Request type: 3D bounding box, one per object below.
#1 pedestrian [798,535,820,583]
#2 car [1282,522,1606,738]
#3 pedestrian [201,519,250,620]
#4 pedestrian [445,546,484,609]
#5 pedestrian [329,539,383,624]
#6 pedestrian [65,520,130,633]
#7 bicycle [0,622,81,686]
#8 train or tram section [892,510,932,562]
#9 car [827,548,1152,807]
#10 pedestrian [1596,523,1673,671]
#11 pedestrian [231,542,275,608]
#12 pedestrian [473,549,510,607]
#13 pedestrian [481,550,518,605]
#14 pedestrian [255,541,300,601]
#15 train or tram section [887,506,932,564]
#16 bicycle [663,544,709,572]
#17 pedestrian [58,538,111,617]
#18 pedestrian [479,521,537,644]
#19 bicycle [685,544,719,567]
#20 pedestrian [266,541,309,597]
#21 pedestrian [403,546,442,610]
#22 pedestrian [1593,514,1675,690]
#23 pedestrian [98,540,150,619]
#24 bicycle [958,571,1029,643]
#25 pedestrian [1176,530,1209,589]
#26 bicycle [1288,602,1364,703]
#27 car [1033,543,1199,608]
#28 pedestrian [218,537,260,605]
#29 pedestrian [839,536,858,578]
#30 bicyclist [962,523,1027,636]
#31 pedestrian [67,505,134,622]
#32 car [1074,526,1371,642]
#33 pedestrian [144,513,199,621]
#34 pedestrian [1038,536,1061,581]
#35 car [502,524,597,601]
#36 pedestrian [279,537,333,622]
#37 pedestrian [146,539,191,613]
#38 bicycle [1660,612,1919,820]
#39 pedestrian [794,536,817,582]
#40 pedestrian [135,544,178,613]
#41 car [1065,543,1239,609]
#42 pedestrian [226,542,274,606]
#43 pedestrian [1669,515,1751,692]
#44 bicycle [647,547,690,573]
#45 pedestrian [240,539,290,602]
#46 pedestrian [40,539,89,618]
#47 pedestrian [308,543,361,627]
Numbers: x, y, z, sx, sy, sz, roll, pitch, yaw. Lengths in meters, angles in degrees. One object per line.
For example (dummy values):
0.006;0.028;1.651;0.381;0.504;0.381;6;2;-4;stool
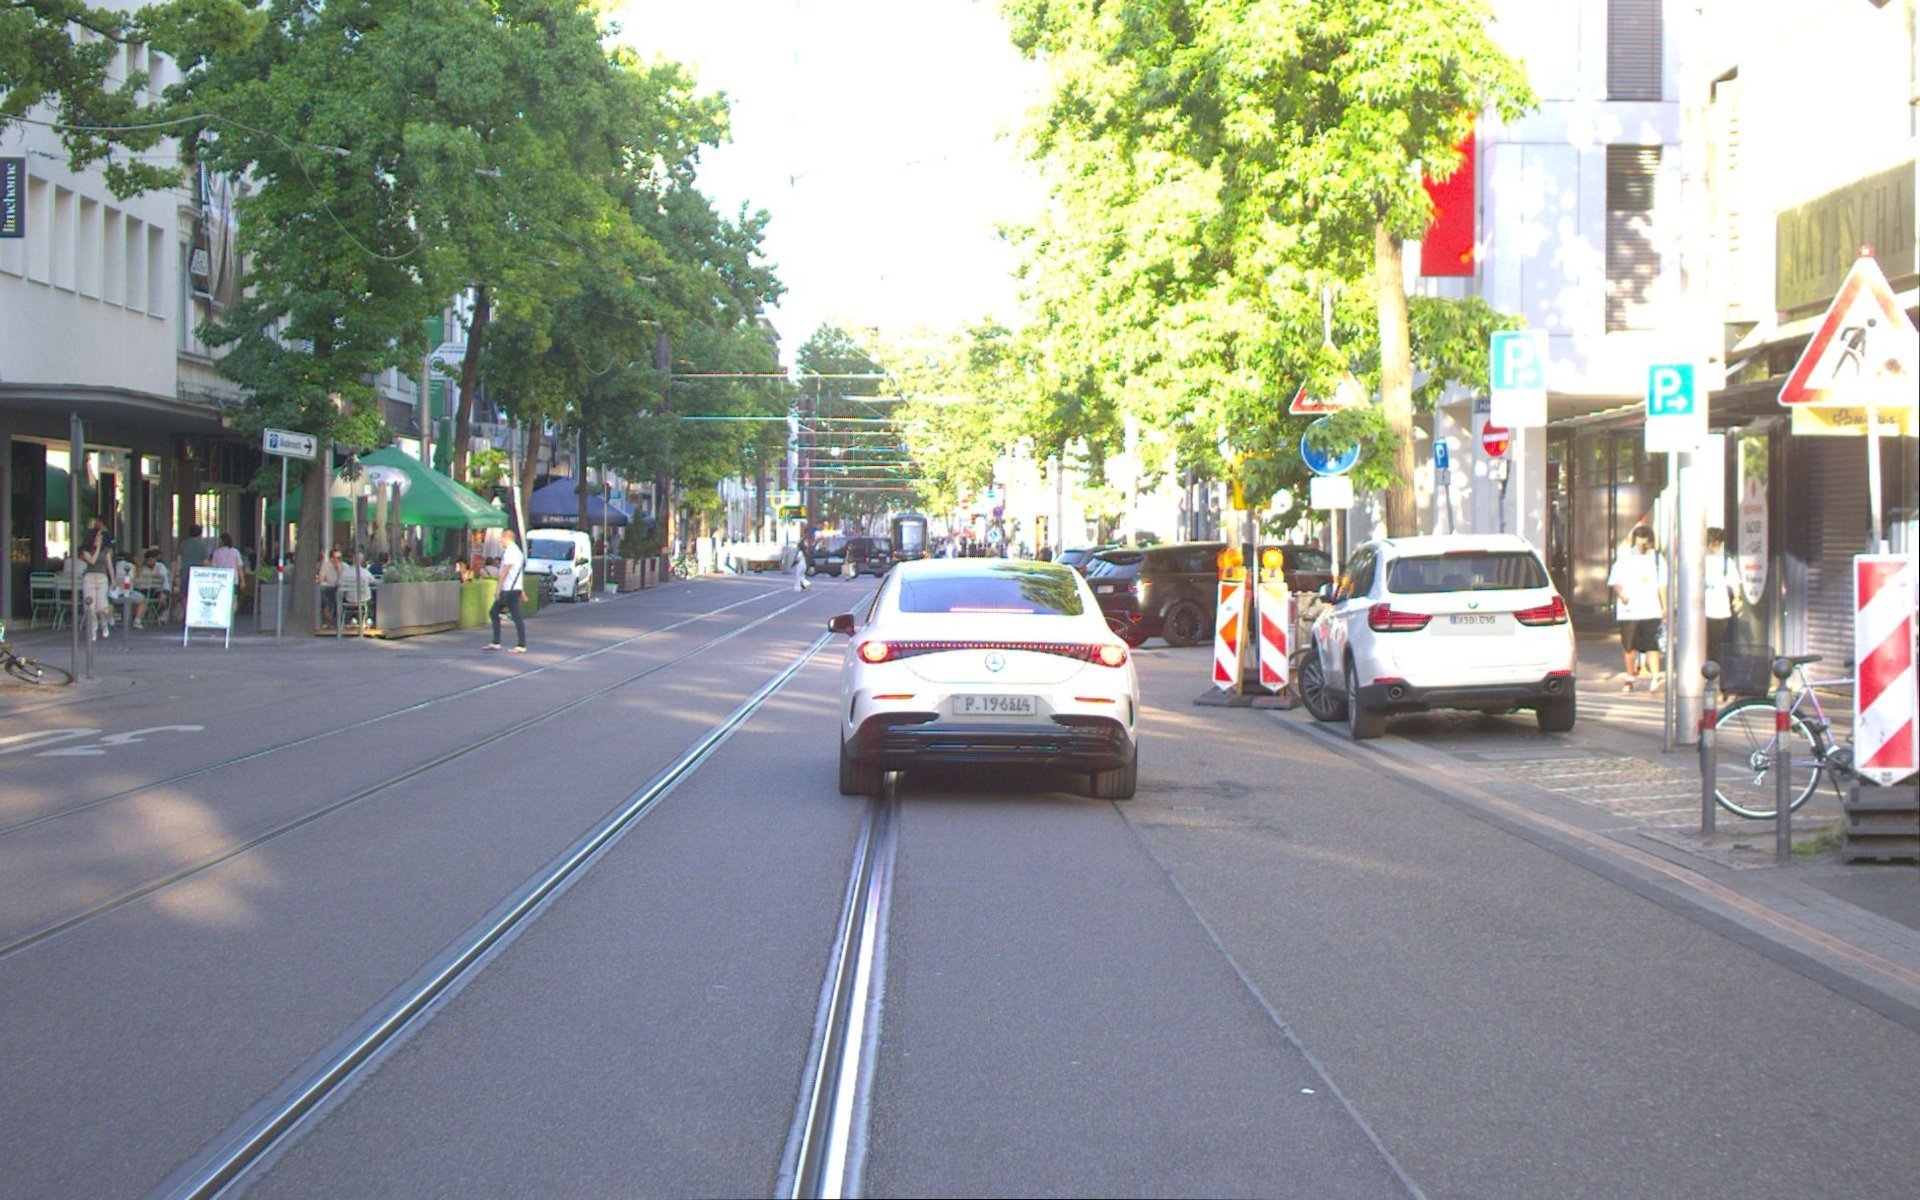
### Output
-4.991;-1.361;113.962;0.622;1.545;0.852;3;1;0;pedestrian
4.275;0.209;31.146;2.023;1.731;4.907;-2;1;-2;car
-12.259;-0.514;57.408;0.619;1.665;0.697;2;1;-1;pedestrian
-9.988;-0.457;69.275;0.619;1.240;0.697;4;1;-1;pedestrian
-10.002;-0.308;56.946;0.689;1.382;0.807;2;1;0;pedestrian
-12.863;-0.357;51.294;0.707;1.650;0.967;0;2;1;pedestrian
-10.343;0.549;36.185;1.795;0.607;1.282;2;1;3;bicycle
-3.322;-4.459;238.910;2.694;3.504;11.144;0;1;0;train or tram section
0.146;0.421;22.101;1.857;1.450;4.175;1;1;-1;car
8.710;-0.046;44.428;0.834;1.891;0.918;-1;1;2;pedestrian
-13.689;-0.490;66.565;0.669;1.238;0.799;2;1;-1;pedestrian
-10.318;-0.491;75.737;0.657;1.240;0.873;4;1;-1;pedestrian
-10.265;-0.505;76.595;0.657;1.189;0.798;4;1;-1;pedestrian
-14.382;-0.614;72.469;0.736;1.209;0.788;4;1;-1;pedestrian
-3.132;-4.022;214.518;2.694;3.504;12.546;0;1;0;train or tram section
-10.857;-1.671;136.351;1.788;1.073;0.377;2;1;-4;bicycle
-14.392;-0.367;56.545;0.644;1.265;0.738;2;1;0;pedestrian
-6.496;-0.251;49.399;0.795;1.734;0.866;0;2;-8;pedestrian
-11.691;-2.010;155.667;1.492;1.025;0.345;2;1;-10;bicycle
-14.376;-0.664;73.496;0.700;1.164;0.788;4;1;-1;pedestrian
-10.823;-0.453;69.265;0.619;1.240;0.697;4;1;-1;pedestrian
7.030;0.016;35.889;0.705;1.824;0.635;0;1;-1;pedestrian
-13.731;-0.341;56.469;0.626;1.277;0.727;2;1;0;pedestrian
0.506;0.095;50.716;0.719;0.992;2.058;3;1;9;bicycle
6.962;-1.214;102.893;0.689;1.725;0.631;-1;1;42;pedestrian
3.776;0.532;35.547;0.493;0.978;1.930;0;1;-2;bicycle
4.331;-0.680;95.296;4.342;1.646;1.694;-2;1;-31;car
-14.242;-0.570;67.917;0.619;1.305;0.697;4;1;-1;pedestrian
-4.855;-1.879;150.108;0.788;1.795;0.844;1;1;1;pedestrian
0.513;-0.305;50.639;0.778;1.607;0.912;3;1;9;bicyclist
-13.571;-0.582;54.290;0.685;1.809;0.763;2;1;15;pedestrian
4.467;-0.277;58.312;4.651;1.757;1.995;-3;1;-29;car
-13.085;-0.547;57.081;0.678;1.751;0.697;2;1;1;pedestrian
3.623;-1.682;139.444;0.841;1.795;0.790;2;1;1;pedestrian
-10.656;-1.000;89.576;1.795;1.858;4.553;3;1;0;car
-10.831;-0.345;56.956;0.689;1.382;0.807;2;1;0;pedestrian
-14.170;-0.438;61.531;0.602;1.294;0.687;2;1;0;pedestrian
4.980;0.651;19.696;1.813;1.131;0.840;-1;0;7;bicycle
-5.073;-1.348;112.955;0.622;1.504;0.833;3;1;0;pedestrian
-13.860;-0.370;59.307;0.552;1.157;0.687;2;1;0;pedestrian
5.095;-0.649;91.137;4.235;1.582;1.884;-2;1;-31;car
-14.269;-0.528;69.104;0.736;1.227;0.788;4;1;-1;pedestrian
7.806;0.031;35.811;0.688;1.824;0.635;0;1;-1;pedestrian
-11.294;-1.549;133.117;1.596;0.927;0.377;2;1;6;bicycle
-14.178;-0.599;70.182;0.777;1.233;0.945;4;1;-1;pedestrian
-14.191;-0.347;54.489;0.552;1.231;0.687;2;1;0;pedestrian
-10.512;-0.256;57.774;0.689;1.382;0.807;2;1;0;pedestrian
